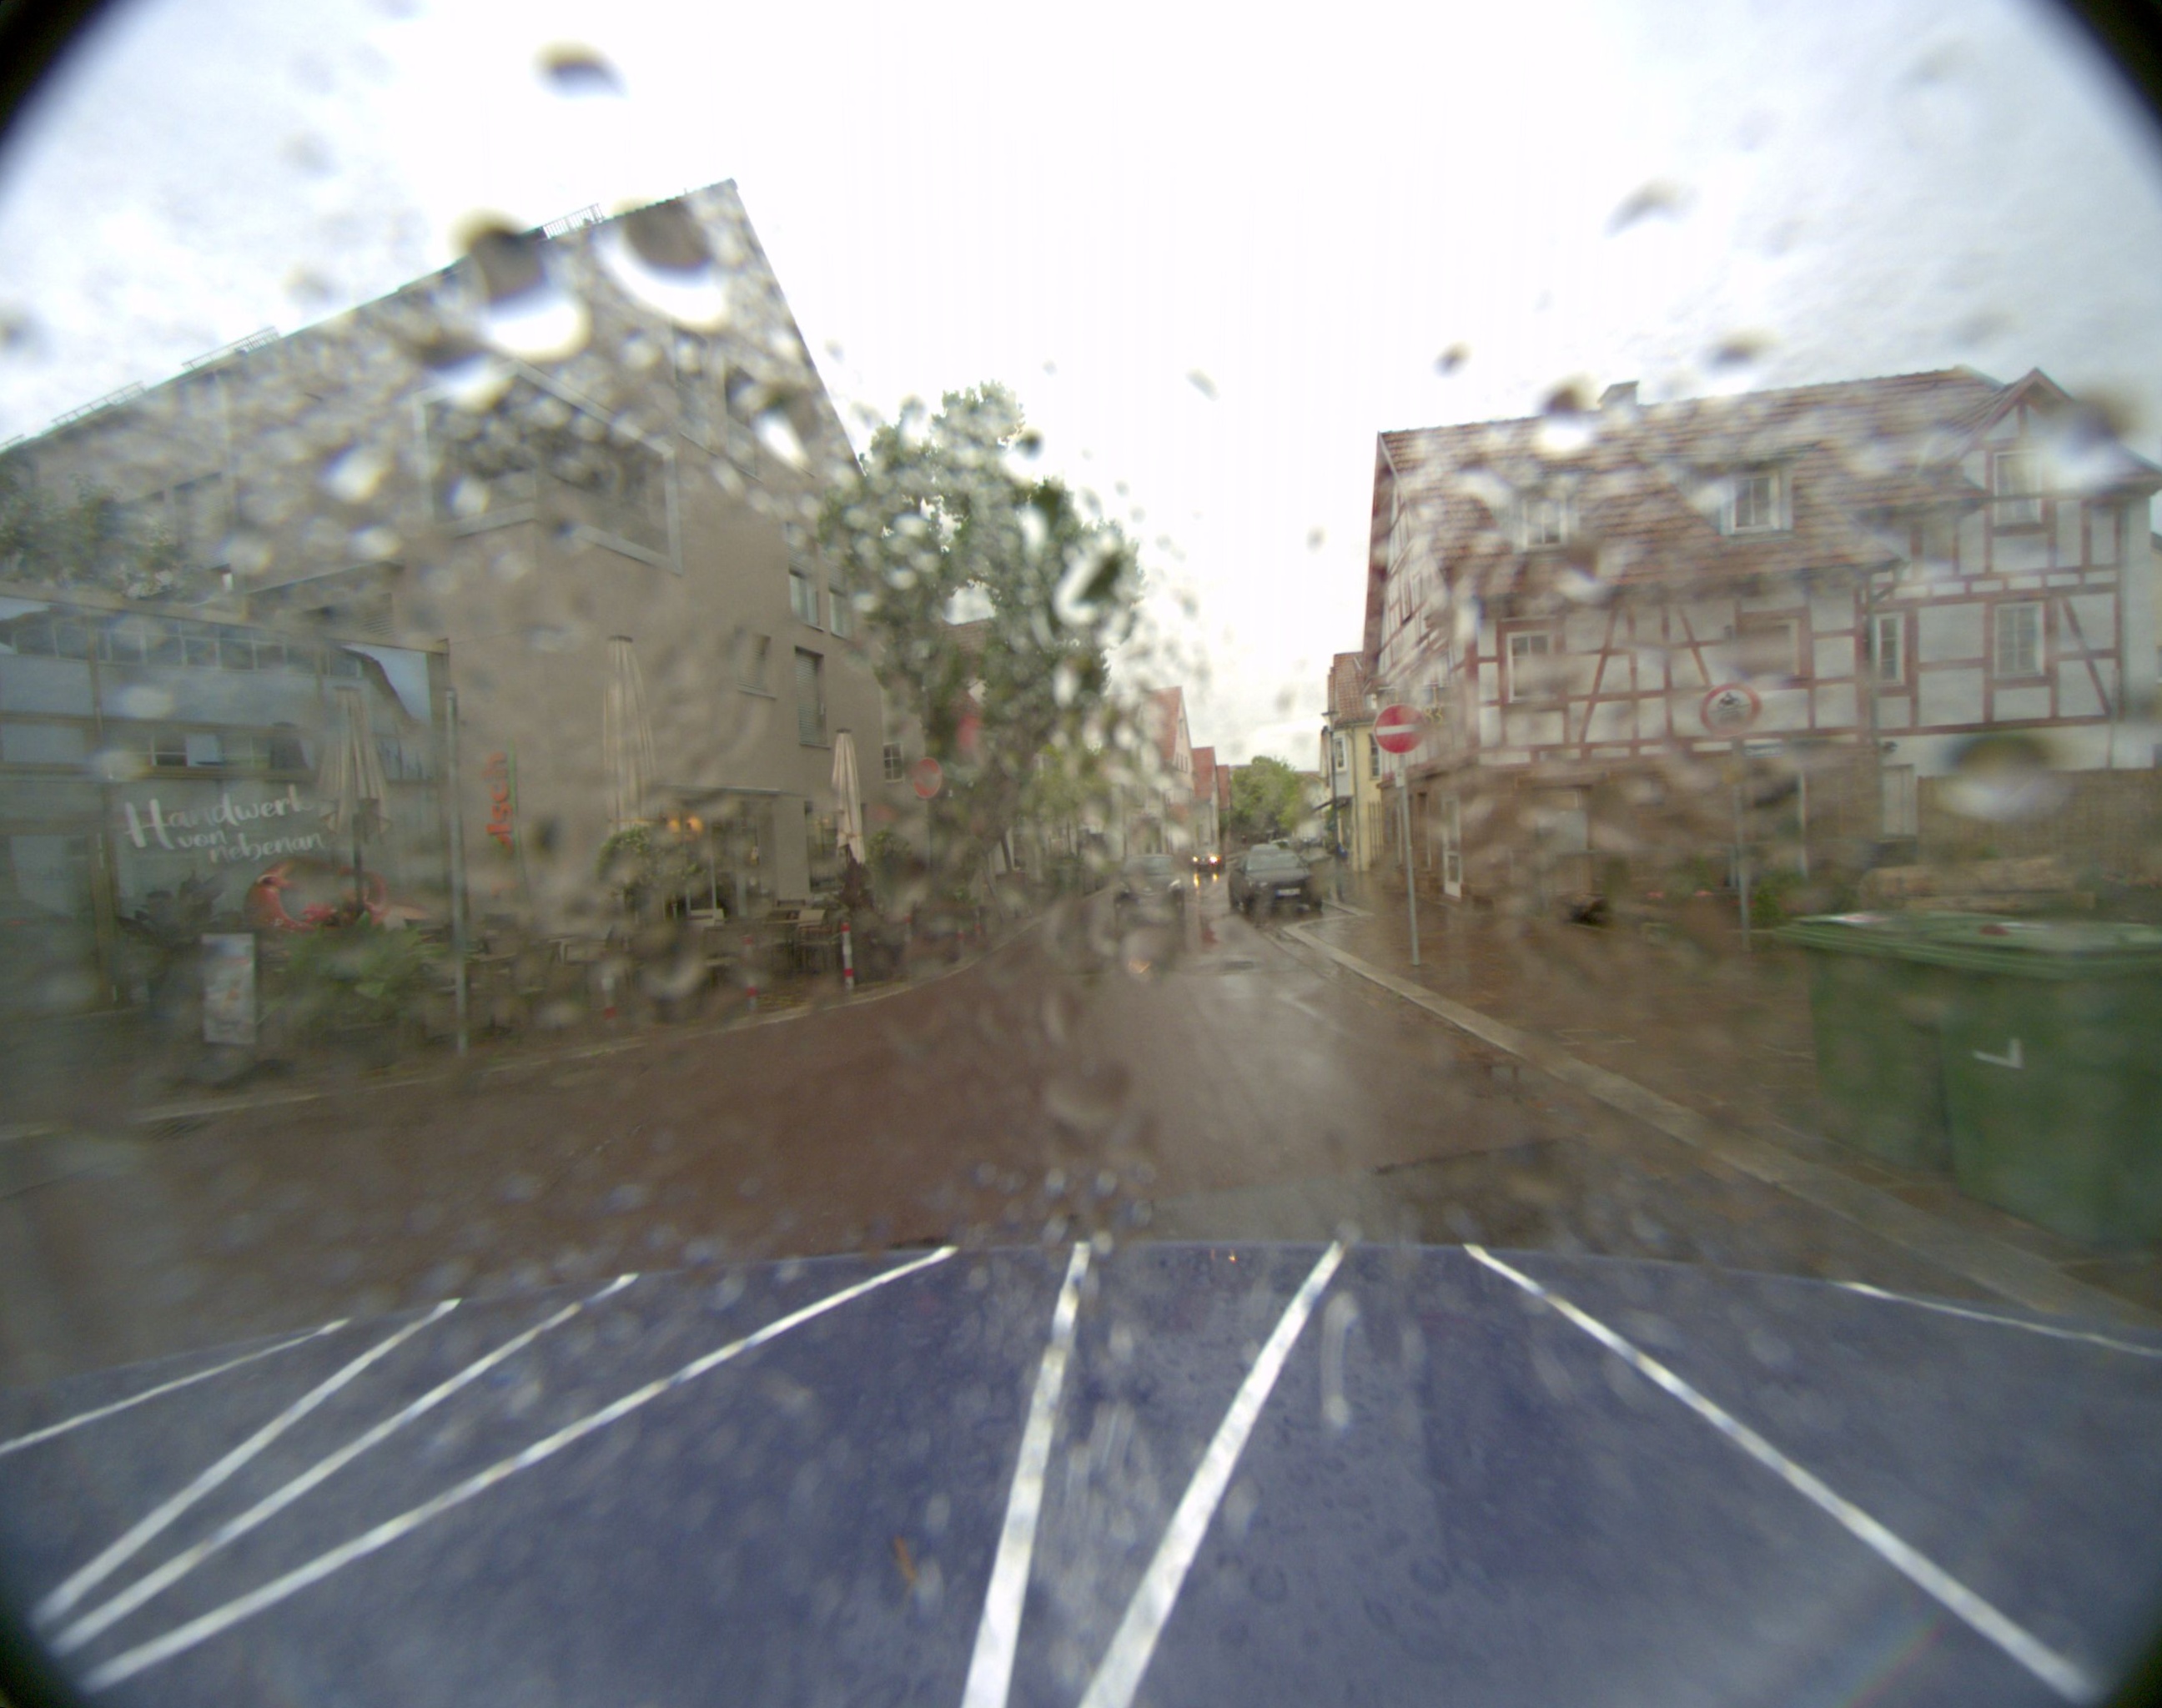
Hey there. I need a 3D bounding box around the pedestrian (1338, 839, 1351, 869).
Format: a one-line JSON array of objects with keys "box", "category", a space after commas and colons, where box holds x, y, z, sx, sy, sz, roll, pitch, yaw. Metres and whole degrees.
[{"box": [11.414, 0.004, 32.915, 0.454, 1.300, 0.518, -2, 1, 15], "category": "pedestrian"}]

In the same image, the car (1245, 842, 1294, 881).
[{"box": [8.785, 0.307, 35.427, 1.997, 1.520, 4.003, -5, 0, 14], "category": "car"}]

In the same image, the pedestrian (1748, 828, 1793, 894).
[{"box": [12.353, 0.128, 13.618, 0.412, 1.147, 0.424, -2, 1, 8], "category": "pedestrian"}]

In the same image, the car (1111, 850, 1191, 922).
[{"box": [1.832, 0.726, 19.104, 1.735, 1.547, 3.846, -2, 1, 7], "category": "car"}]

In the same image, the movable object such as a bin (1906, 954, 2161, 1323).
[{"box": [3.589, 0.958, 2.717, 0.660, 1.108, 0.552, -2, 1, 5], "category": "movable object such as a bin"}]

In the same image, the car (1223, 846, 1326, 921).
[{"box": [4.638, 0.634, 18.713, 1.693, 1.477, 4.001, -5, 1, 5], "category": "car"}]

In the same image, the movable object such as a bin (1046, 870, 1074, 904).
[{"box": [-0.675, 1.064, 24.539, 0.765, 1.068, 0.538, -2, 1, 9], "category": "movable object such as a bin"}]

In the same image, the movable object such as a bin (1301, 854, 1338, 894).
[{"box": [6.986, 0.580, 22.274, 0.834, 1.105, 0.919, -2, 1, 7], "category": "movable object such as a bin"}]

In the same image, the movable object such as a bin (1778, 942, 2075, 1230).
[{"box": [3.629, 0.964, 3.311, 0.660, 1.076, 0.552, -2, 1, 5], "category": "movable object such as a bin"}]

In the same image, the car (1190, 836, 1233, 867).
[{"box": [7.951, -0.170, 45.935, 1.996, 1.740, 4.004, -2, 1, 17], "category": "car"}]
